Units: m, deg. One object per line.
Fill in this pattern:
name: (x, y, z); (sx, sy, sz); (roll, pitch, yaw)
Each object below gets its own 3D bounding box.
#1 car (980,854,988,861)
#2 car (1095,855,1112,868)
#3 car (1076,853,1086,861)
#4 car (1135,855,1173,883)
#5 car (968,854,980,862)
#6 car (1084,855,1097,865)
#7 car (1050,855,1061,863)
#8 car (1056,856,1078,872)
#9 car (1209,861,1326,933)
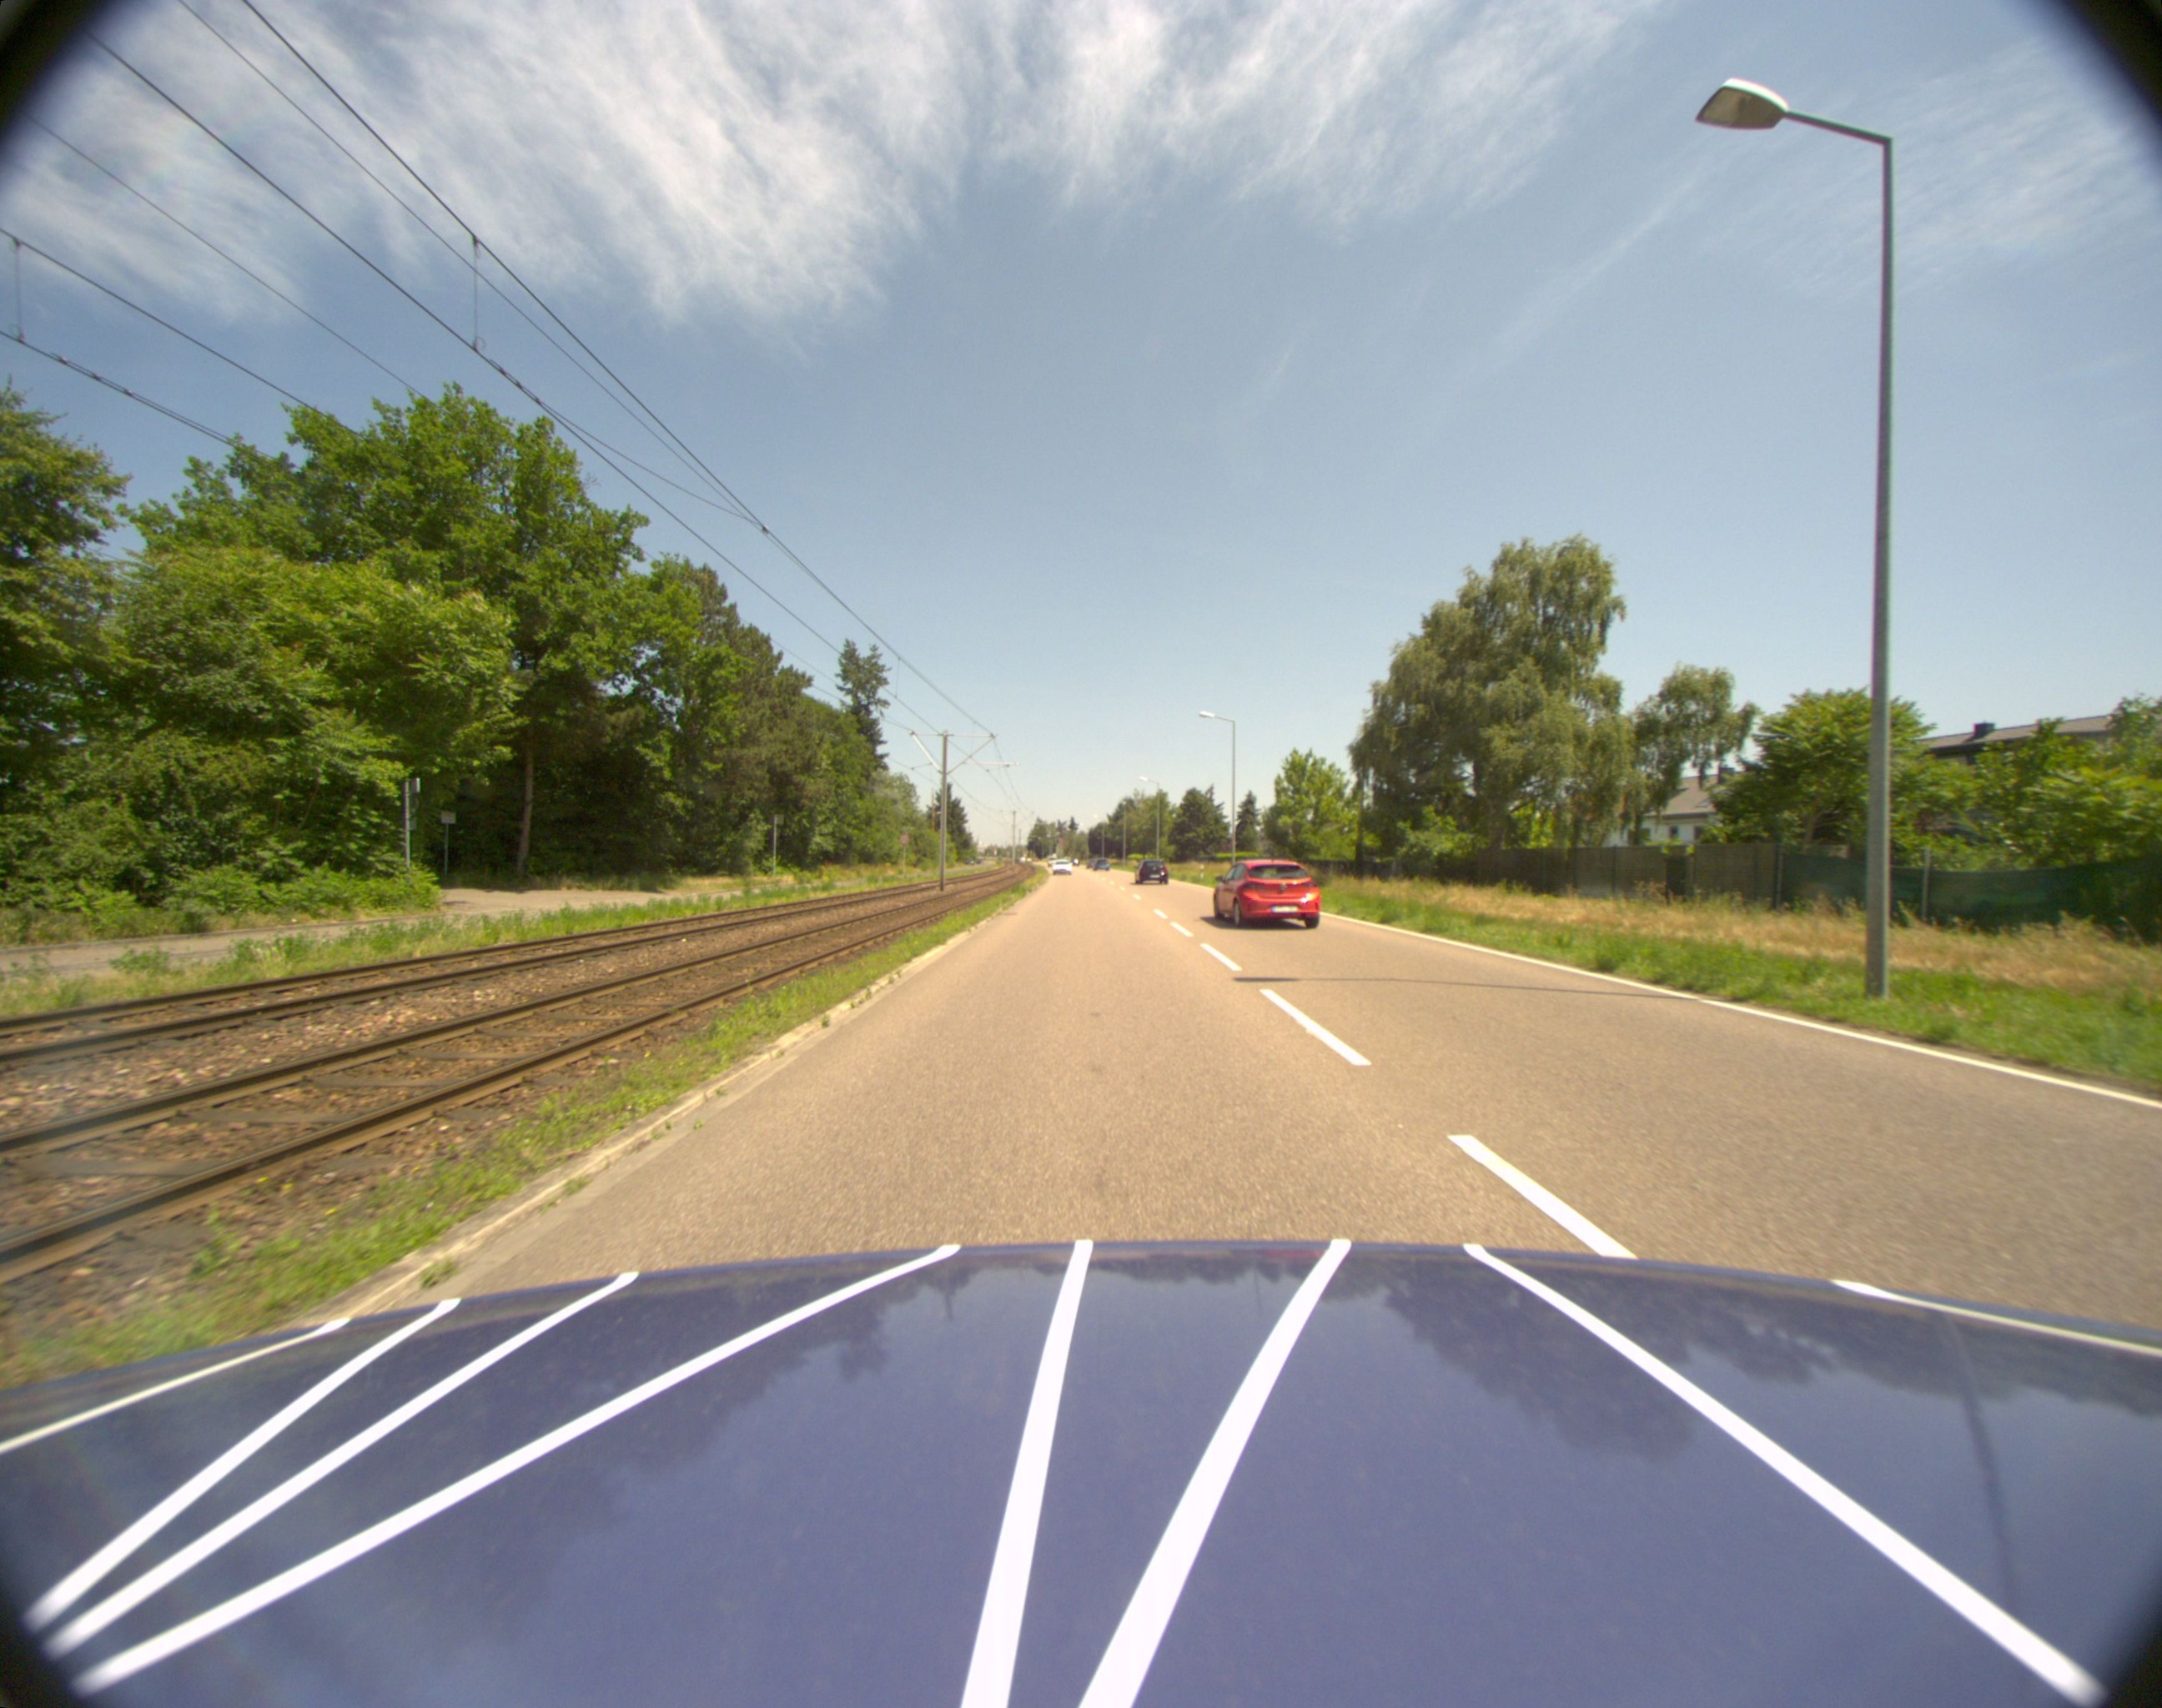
car: (-24.160, 0.883, 189.538); (1.947, 1.685, 3.997); (-2, 1, -6)
car: (2.709, 0.900, 92.988); (1.820, 1.496, 3.999); (0, 0, -2)
car: (0.035, 0.522, 141.047); (1.740, 1.487, 4.828); (0, 0, -2)
car: (4.202, 0.827, 44.406); (1.689, 1.560, 3.966); (0, 0, -2)
car: (-22.091, 0.809, 157.052); (1.999, 1.710, 3.999); (-2, 1, -2)
car: (1.375, 0.929, 113.150); (1.762, 1.414, 4.323); (0, 0, -2)
car: (-4.714, 0.931, 138.469); (1.891, 1.456, 4.000); (0, 0, 0)
car: (-1.411, 0.973, 74.726); (1.955, 1.467, 4.360); (0, 0, -3)
car: (4.066, 0.883, 17.171); (1.683, 1.391, 4.000); (0, 0, 0)
